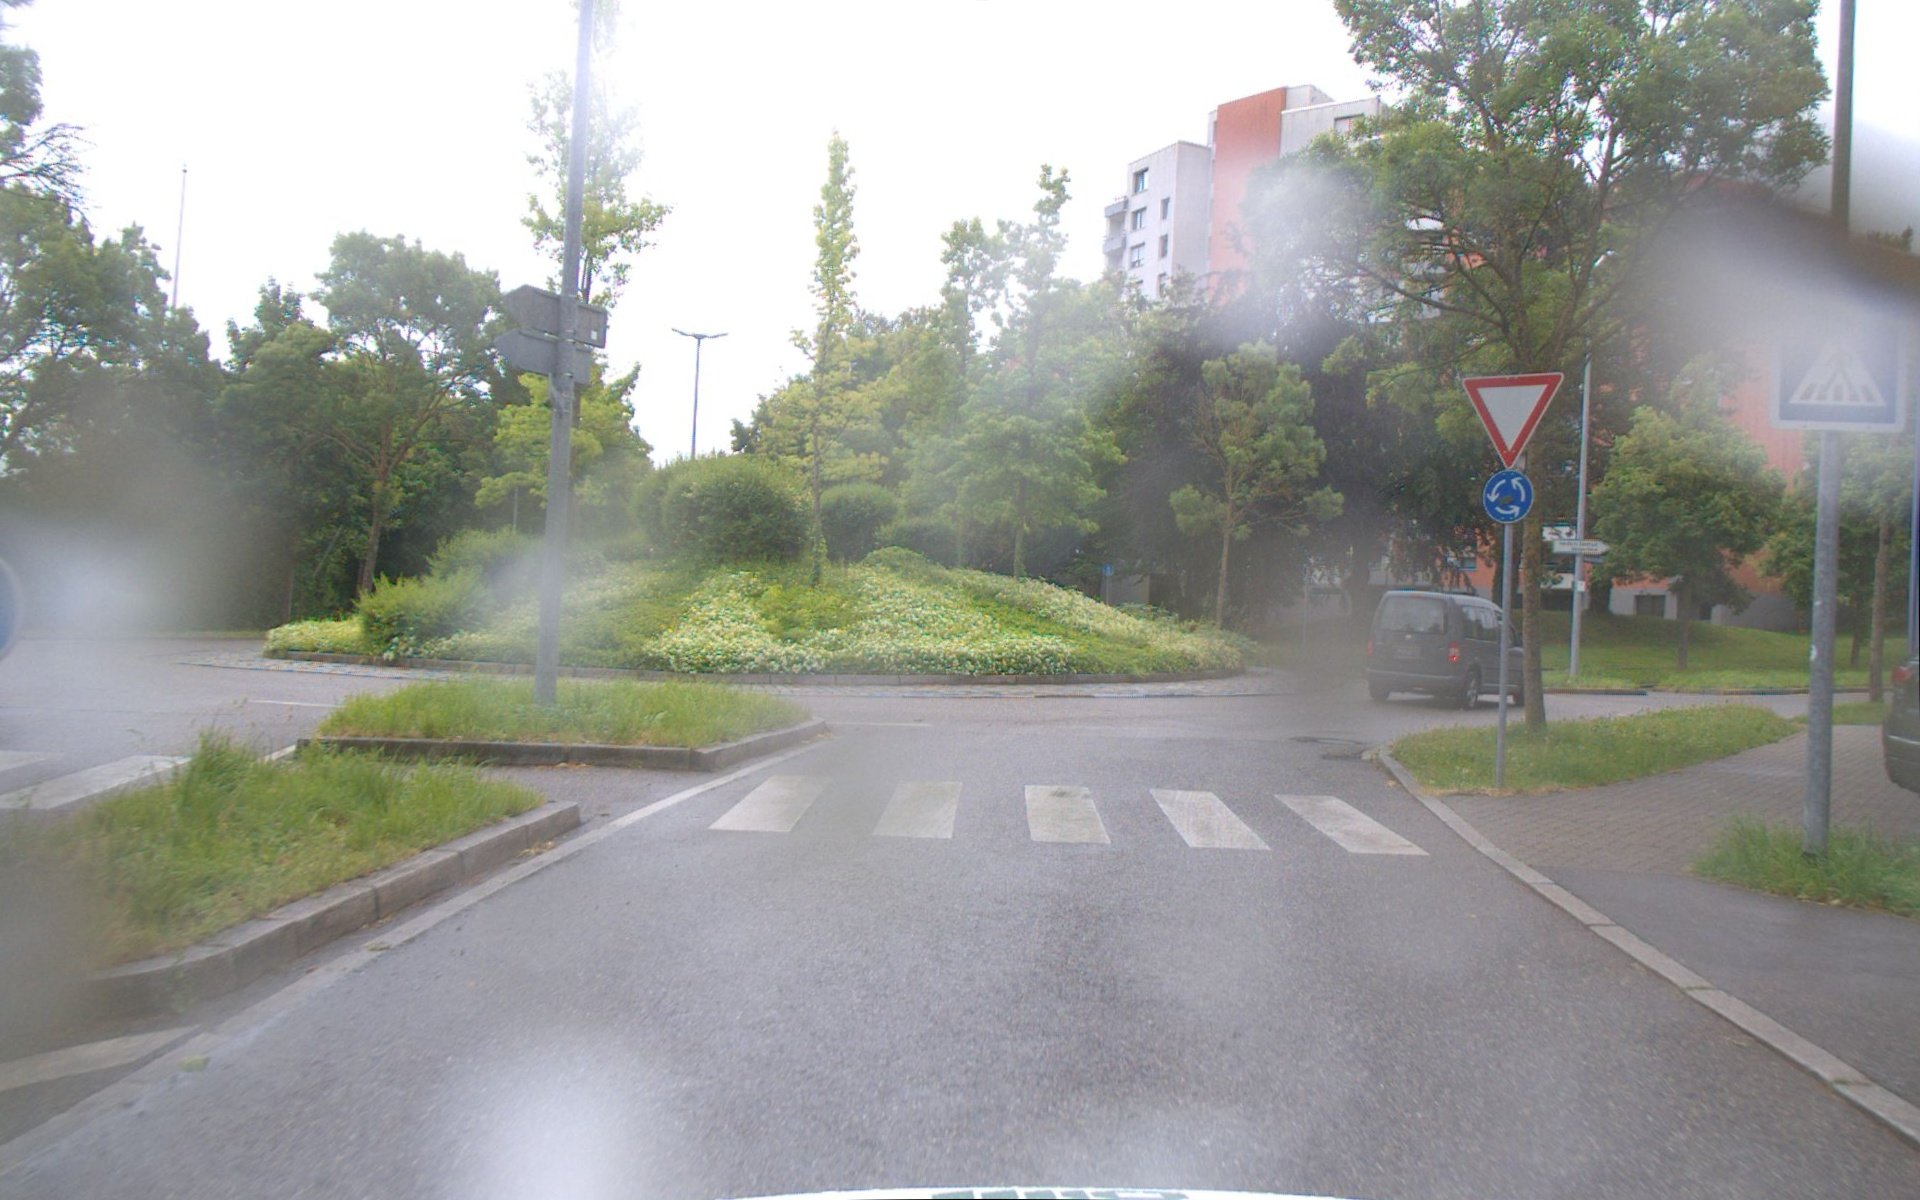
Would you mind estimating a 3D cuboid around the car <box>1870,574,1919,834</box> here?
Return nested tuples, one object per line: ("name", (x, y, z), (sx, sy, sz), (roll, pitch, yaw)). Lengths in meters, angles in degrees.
("car", (8.847, 0.875, 11.205), (4.290, 1.789, 1.829), (4, 1, -2))

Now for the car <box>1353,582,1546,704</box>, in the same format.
("car", (8.344, 0.686, 28.034), (1.887, 1.832, 3.774), (4, 2, 37))
